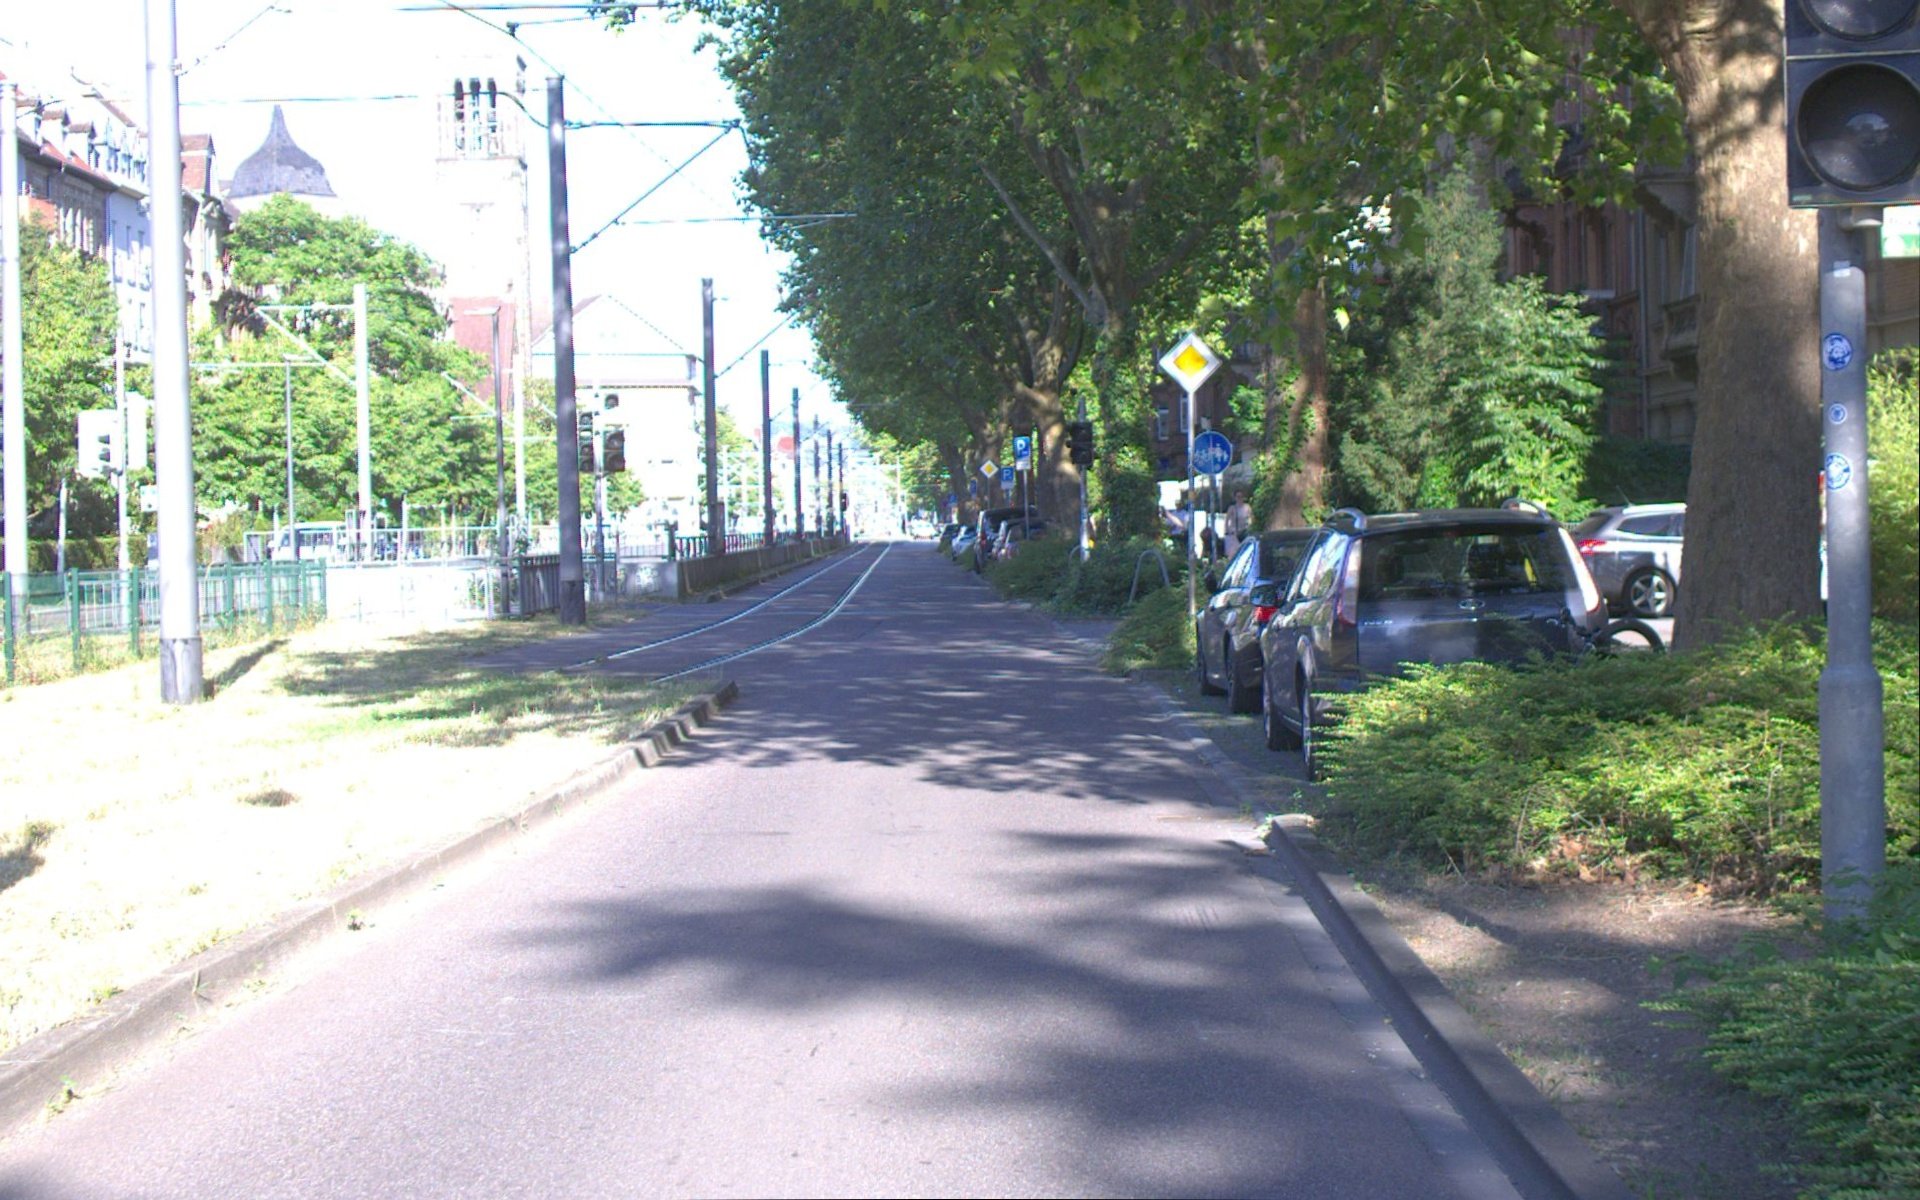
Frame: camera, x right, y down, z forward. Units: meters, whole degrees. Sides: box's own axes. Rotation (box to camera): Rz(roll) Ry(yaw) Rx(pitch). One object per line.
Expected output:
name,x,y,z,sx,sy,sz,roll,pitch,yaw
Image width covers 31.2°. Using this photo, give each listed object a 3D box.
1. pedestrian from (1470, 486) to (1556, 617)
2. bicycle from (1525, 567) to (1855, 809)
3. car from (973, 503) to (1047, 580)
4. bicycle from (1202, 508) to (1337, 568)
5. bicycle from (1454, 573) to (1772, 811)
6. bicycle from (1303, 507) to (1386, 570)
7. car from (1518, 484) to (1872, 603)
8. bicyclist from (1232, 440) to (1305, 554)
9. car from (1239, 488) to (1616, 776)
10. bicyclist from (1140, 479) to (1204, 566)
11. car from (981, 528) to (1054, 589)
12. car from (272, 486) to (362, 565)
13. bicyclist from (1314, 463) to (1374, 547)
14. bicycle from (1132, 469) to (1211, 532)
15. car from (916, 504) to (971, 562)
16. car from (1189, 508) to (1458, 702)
pedestrian,7.463,-0.668,46.445,0.813,1.683,1.081,-2,4,-9
bicycle,3.552,0.405,16.681,1.596,1.022,0.542,-4,5,-30
car,1.395,-1.641,97.784,1.993,2.100,4.000,1,0,0
bicycle,5.295,-1.067,58.894,2.241,0.972,0.682,-1,4,-1
bicycle,3.269,0.437,17.162,1.596,1.038,0.509,-4,5,-30
bicycle,6.679,-1.081,59.763,0.813,0.953,2.318,-2,4,-9
car,9.476,-0.746,44.473,3.986,1.415,2.001,-2,2,-10
bicyclist,5.274,-1.766,58.834,1.141,1.884,0.682,-2,4,-1
car,2.692,0.114,20.617,1.643,1.506,4.183,-2,2,0
bicyclist,3.559,-1.314,57.849,0.813,1.400,1.081,-2,4,-9
car,1.478,-1.060,89.037,1.794,1.505,4.000,1,0,0
car,-18.360,-2.141,98.330,1.993,2.006,4.001,-2,4,-4
bicyclist,6.665,-1.659,59.666,0.813,1.400,0.825,-2,4,-9
bicycle,3.549,-1.681,57.896,0.813,0.953,2.318,-2,4,-9
car,-0.613,-2.525,130.173,1.993,2.100,4.000,1,0,0
car,2.802,-0.020,27.230,1.643,1.368,4.183,-2,2,0
